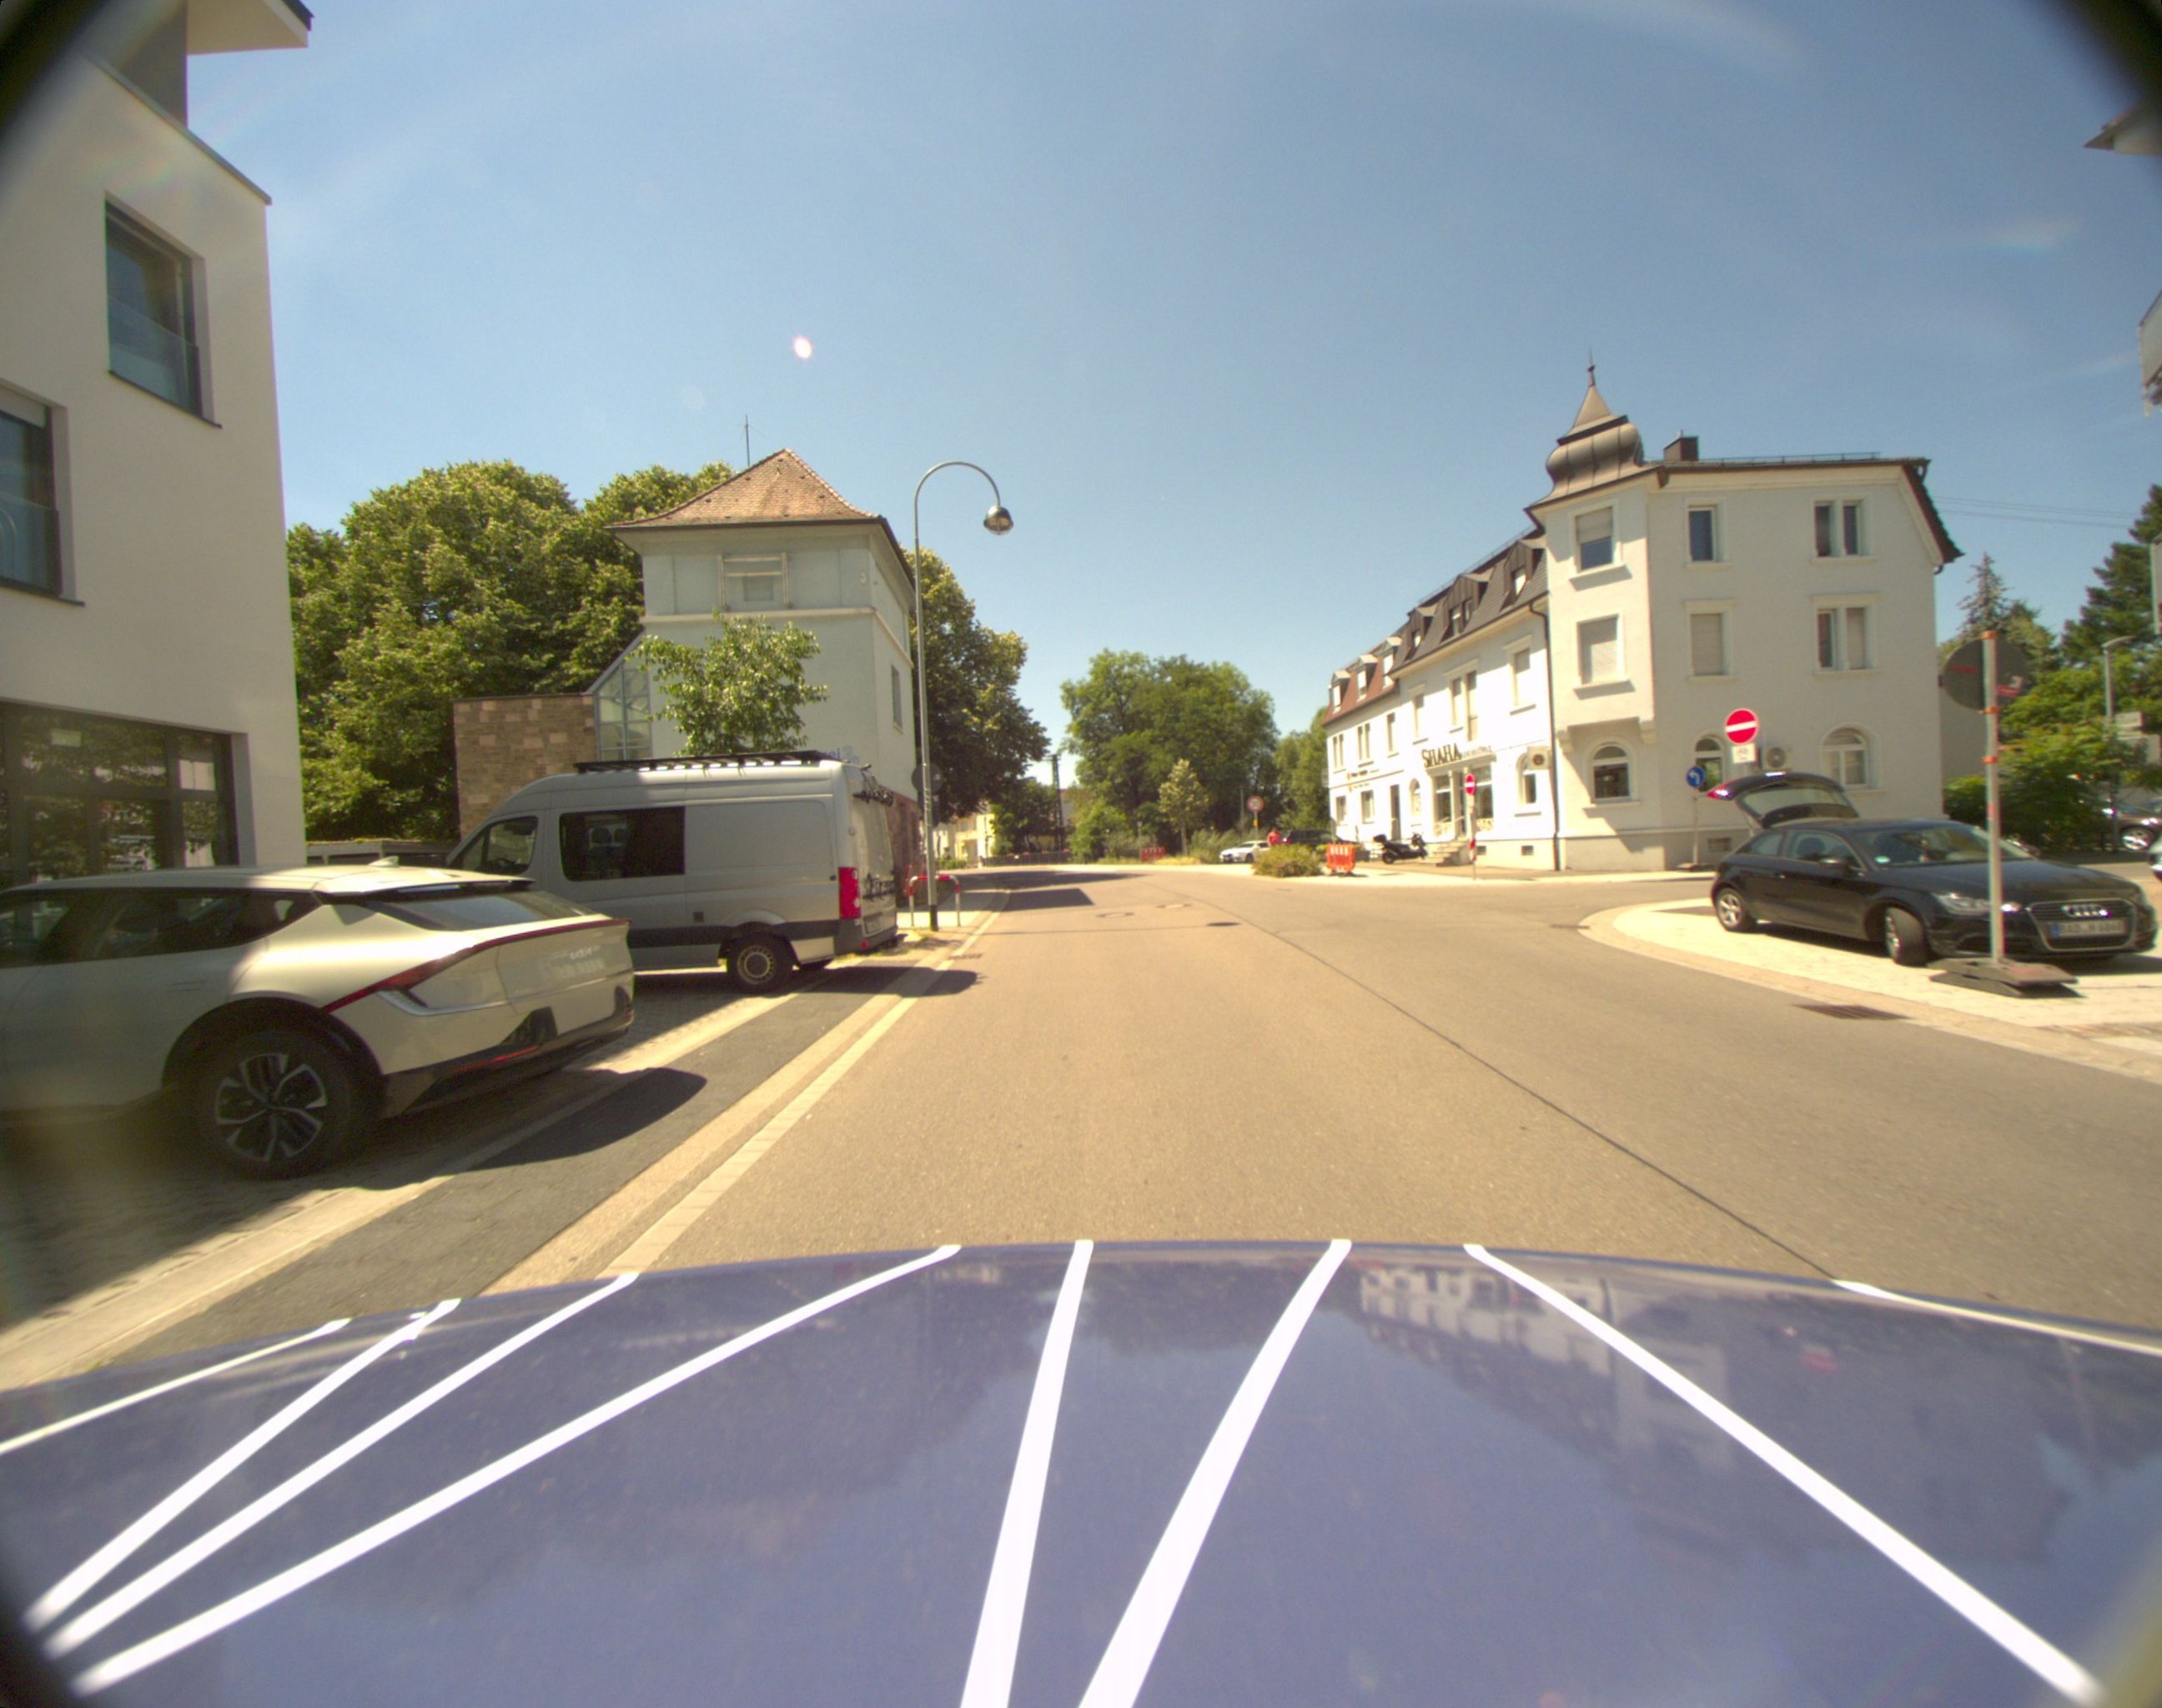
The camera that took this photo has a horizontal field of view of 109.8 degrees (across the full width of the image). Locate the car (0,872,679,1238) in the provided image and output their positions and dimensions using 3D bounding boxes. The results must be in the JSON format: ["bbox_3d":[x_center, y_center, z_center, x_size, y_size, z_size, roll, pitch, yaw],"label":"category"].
[{"bbox_3d":[-5.236,0.998,4.465,4.599,1.520,2.000,-2,1,0],"label":"car"}]

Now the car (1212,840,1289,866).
[{"bbox_3d":[10.433,-0.072,46.740,4.717,1.348,1.995,-3,1,-37],"label":"car"}]

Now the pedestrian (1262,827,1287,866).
[{"bbox_3d":[8.899,-0.331,34.960,0.739,1.744,0.736,-4,2,-18],"label":"pedestrian"}]

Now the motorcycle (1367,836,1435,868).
[{"bbox_3d":[13.121,-0.096,31.179,2.401,1.211,0.833,-3,2,-3],"label":"motorcycle"}]

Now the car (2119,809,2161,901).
[{"bbox_3d":[18.856,-0.051,11.844,3.272,1.450,1.691,-2,0,-5],"label":"car"}]

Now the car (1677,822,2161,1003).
[{"bbox_3d":[8.948,0.451,8.545,1.715,1.452,4.131,-5,1,10],"label":"car"}]

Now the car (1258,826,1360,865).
[{"bbox_3d":[10.922,-0.393,36.565,4.192,1.653,1.970,-3,1,-5],"label":"car"}]

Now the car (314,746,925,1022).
[{"bbox_3d":[-5.175,0.309,9.274,5.955,2.717,2.196,-2,1,0],"label":"car"}]

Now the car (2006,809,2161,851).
[{"bbox_3d":[34.037,-0.798,25.216,1.851,1.285,3.999,-2,1,0],"label":"car"}]
